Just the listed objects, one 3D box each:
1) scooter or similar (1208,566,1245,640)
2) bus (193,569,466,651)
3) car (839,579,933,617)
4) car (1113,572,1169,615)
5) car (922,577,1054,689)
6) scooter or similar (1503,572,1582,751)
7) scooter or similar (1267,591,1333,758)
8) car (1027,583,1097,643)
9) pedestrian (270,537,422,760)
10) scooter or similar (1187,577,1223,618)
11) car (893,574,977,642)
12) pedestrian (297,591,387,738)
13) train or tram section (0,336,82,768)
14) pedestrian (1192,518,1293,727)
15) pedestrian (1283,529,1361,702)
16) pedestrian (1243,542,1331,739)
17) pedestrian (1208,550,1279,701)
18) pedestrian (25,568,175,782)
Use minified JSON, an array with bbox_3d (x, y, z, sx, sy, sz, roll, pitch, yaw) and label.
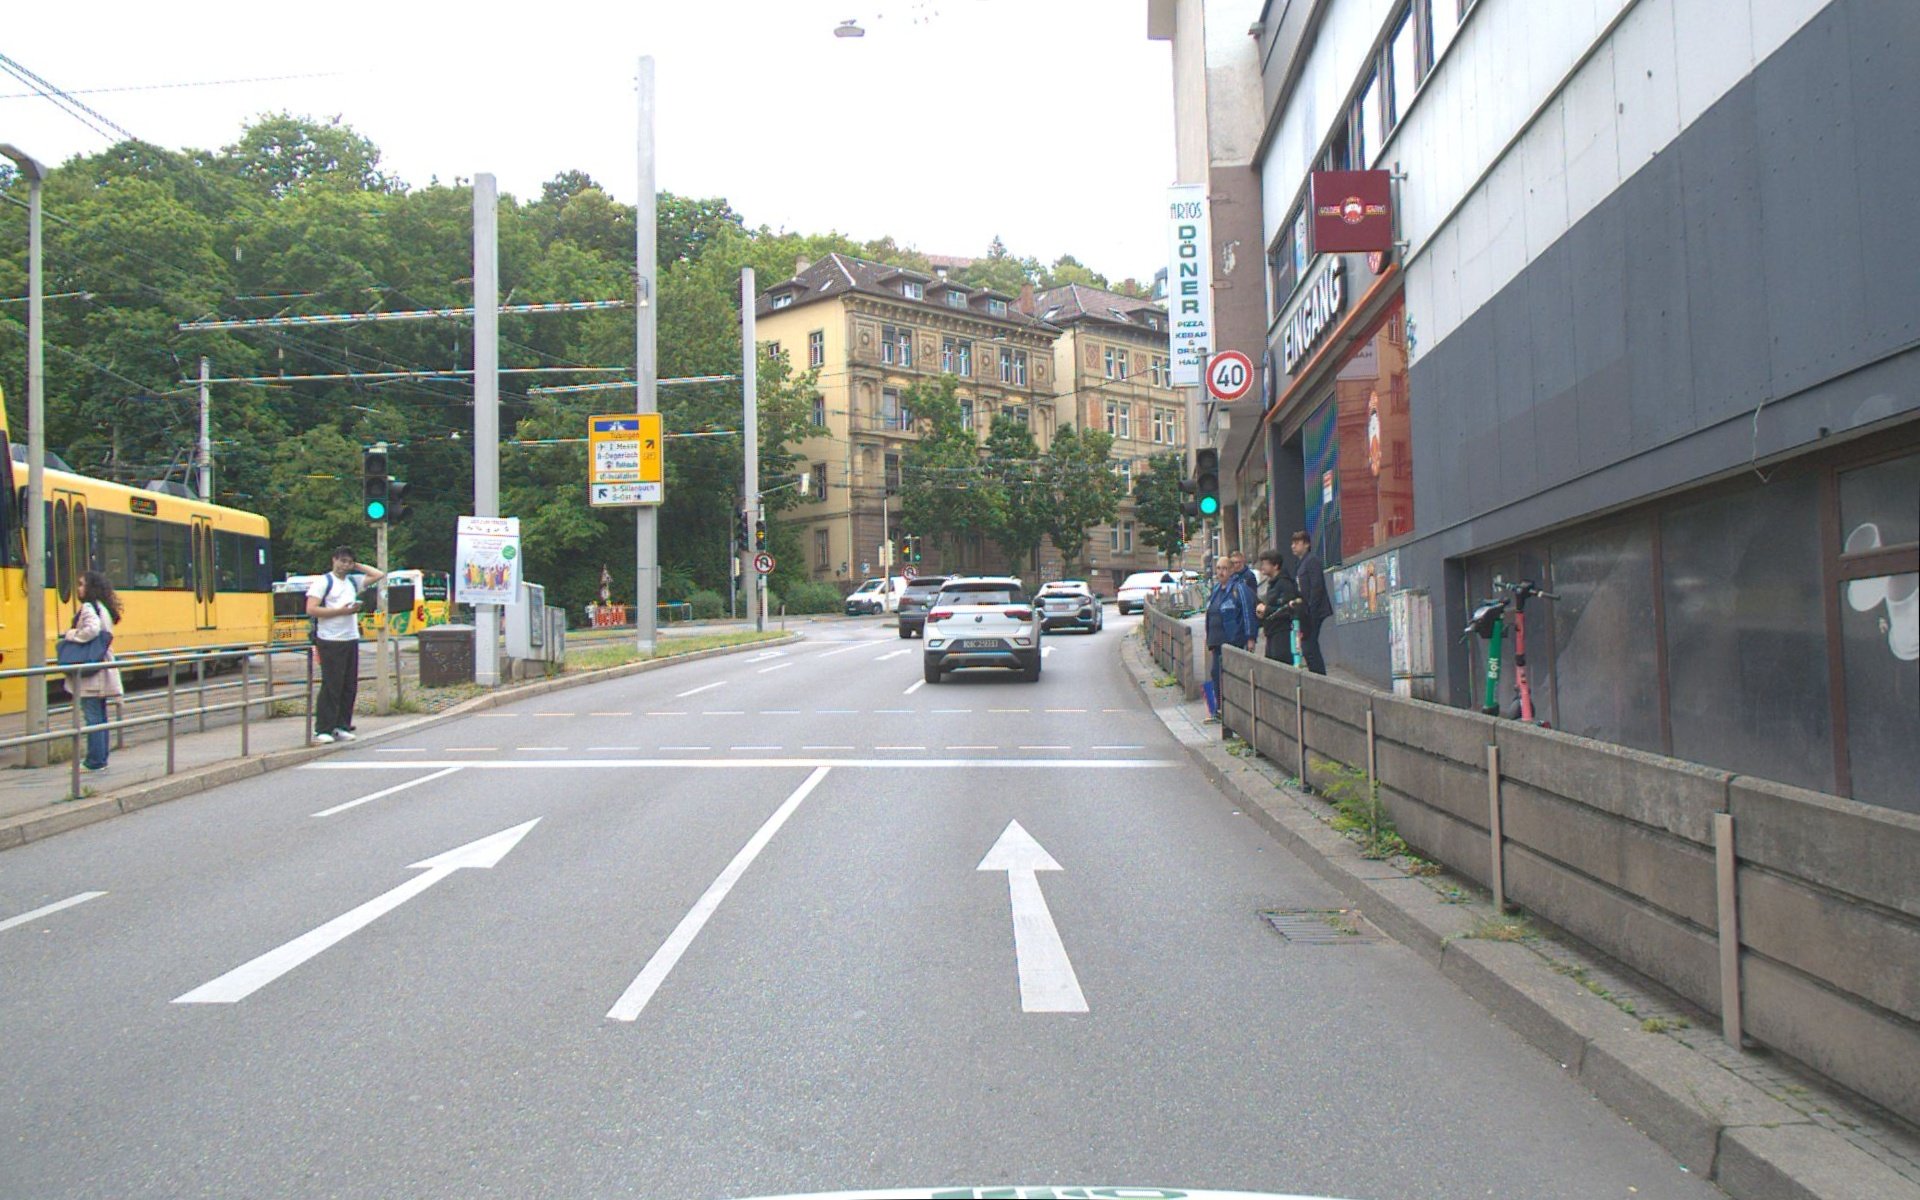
[{"bbox_3d":[5.568,0.061,34.587,0.654,1.501,1.179,-2,0,6],"label":"scooter or similar"},{"bbox_3d":[-28.114,0.436,73.844,11.265,3.082,3.393,-2,0,13],"label":"bus"},{"bbox_3d":[-3.769,-0.099,84.621,1.963,1.882,4.966,-1,-1,40],"label":"car"},{"bbox_3d":[6.867,-0.239,62.606,1.896,1.532,3.809,-1,0,9],"label":"car"},{"bbox_3d":[0.414,0.480,26.150,1.898,1.594,4.046,-1,0,0],"label":"car"},{"bbox_3d":[4.410,0.444,12.560,0.418,1.298,0.981,-2,0,13],"label":"scooter or similar"},{"bbox_3d":[2.729,0.580,13.318,0.346,1.298,0.814,-2,0,1],"label":"scooter or similar"},{"bbox_3d":[2.843,0.354,46.249,1.863,1.601,3.836,0,0,4],"label":"car"},{"bbox_3d":[-6.120,0.498,16.524,0.945,2.103,1.032,-4,-4,18],"label":"pedestrian"},{"bbox_3d":[7.459,-0.090,50.358,0.995,1.202,0.374,-2,0,-25],"label":"scooter or similar"},{"bbox_3d":[-0.646,0.176,45.980,1.800,1.770,4.004,0,1,7],"label":"car"},{"bbox_3d":[-6.527,0.685,17.482,0.564,1.490,0.676,-4,-4,18],"label":"pedestrian"},{"bbox_3d":[-9.480,-0.394,8.294,2.823,3.728,14.469,-2,0,-2],"label":"train or tram section"},{"bbox_3d":[2.897,0.226,17.054,0.927,2.099,0.779,0,0,3],"label":"pedestrian"},{"bbox_3d":[3.932,0.166,18.002,0.711,1.840,0.654,0,0,3],"label":"pedestrian"},{"bbox_3d":[3.090,0.373,15.685,0.722,1.825,0.655,0,0,3],"label":"pedestrian"},{"bbox_3d":[3.322,0.292,19.391,0.550,1.679,0.591,-7,0,2],"label":"pedestrian"},{"bbox_3d":[-6.981,0.587,13.472,0.662,1.653,1.000,-2,0,-2],"label":"pedestrian"}]
